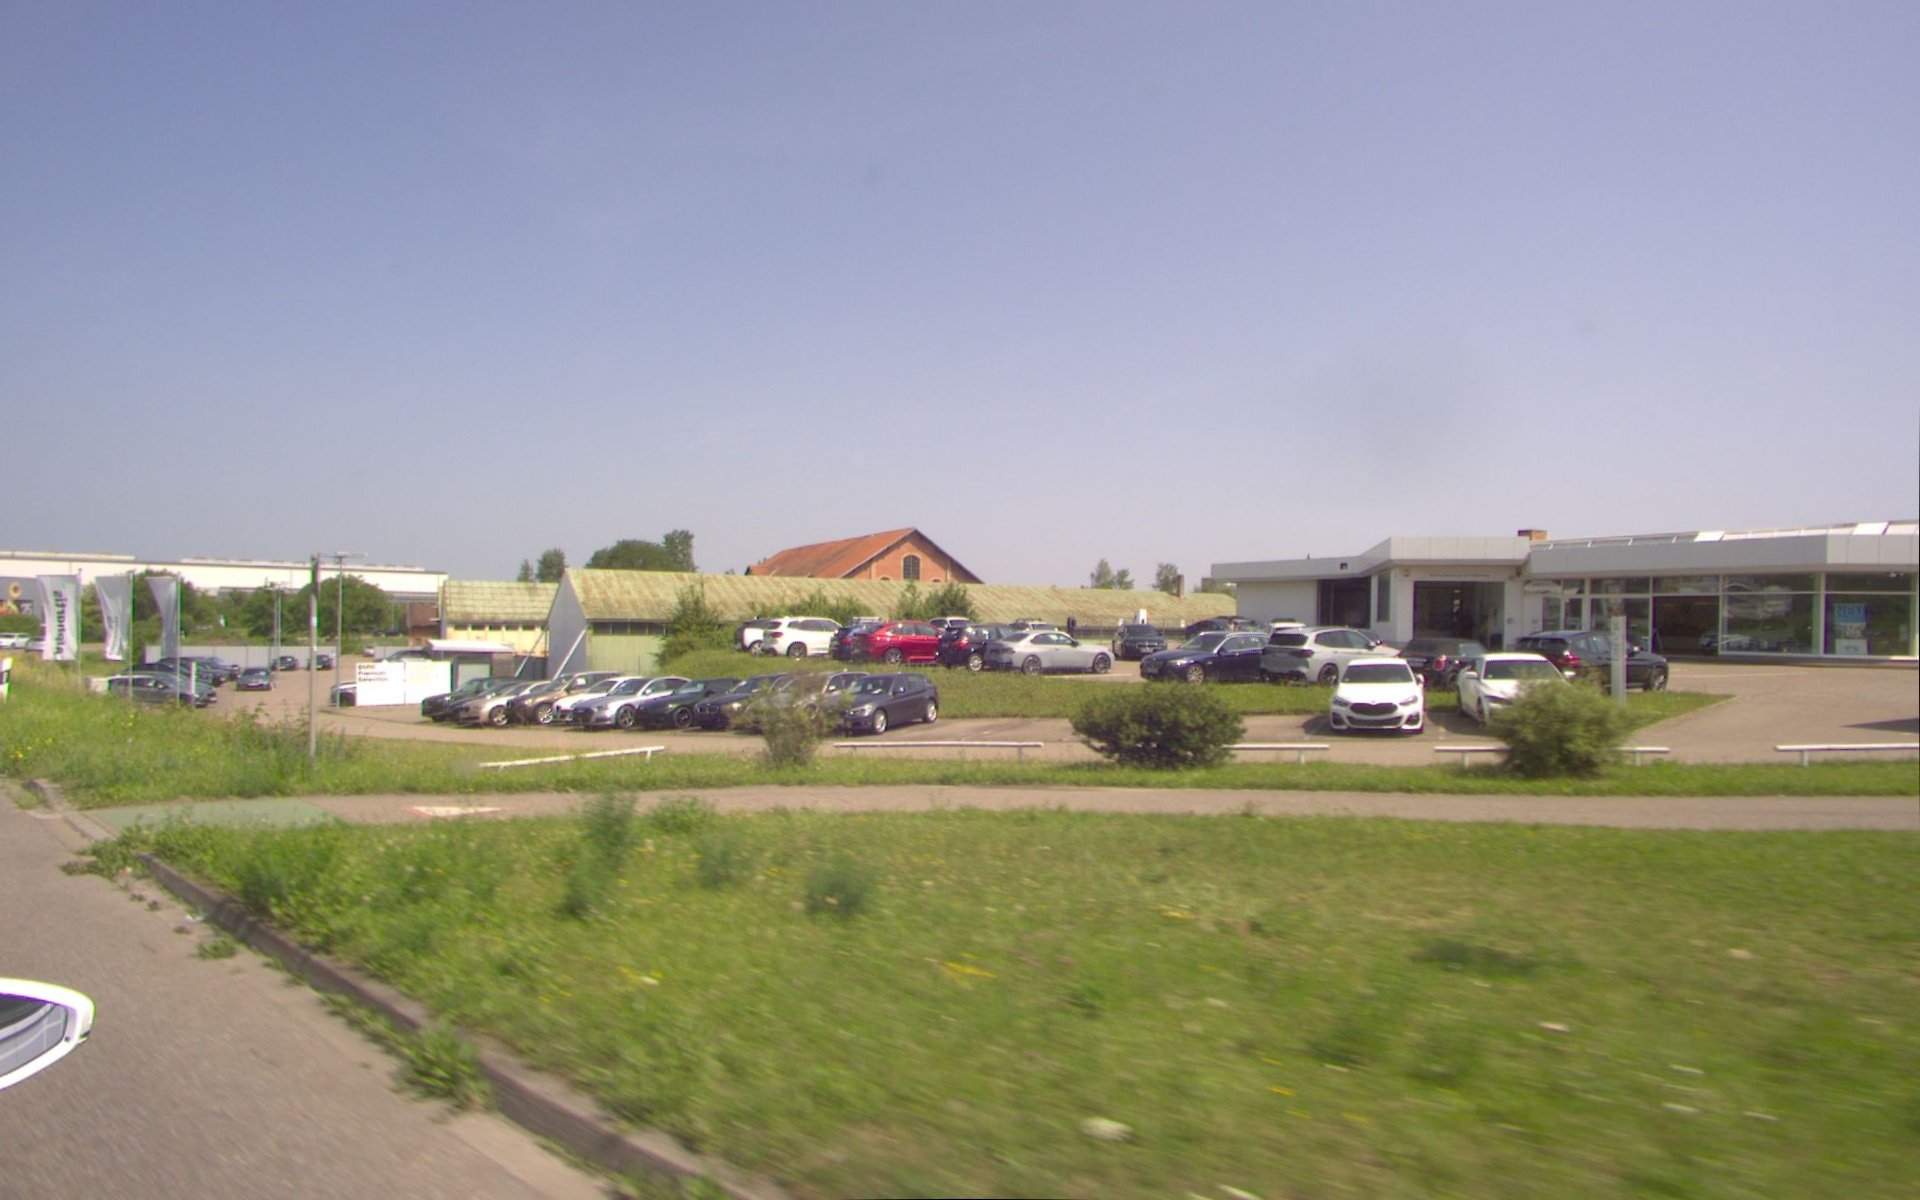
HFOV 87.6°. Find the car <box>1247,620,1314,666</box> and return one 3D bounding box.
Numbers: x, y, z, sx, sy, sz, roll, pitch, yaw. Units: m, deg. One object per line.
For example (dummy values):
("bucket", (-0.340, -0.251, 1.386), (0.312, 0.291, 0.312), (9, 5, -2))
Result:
("car", (12.019, 1.561, 37.788), (1.626, 1.606, 4.268), (0, -1, 7))

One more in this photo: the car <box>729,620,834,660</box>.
("car", (-7.283, 1.615, 40.923), (3.834, 1.552, 1.758), (1, -1, -32))

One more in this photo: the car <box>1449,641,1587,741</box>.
("car", (11.677, 1.809, 21.272), (1.737, 1.592, 4.655), (0, 1, 19))

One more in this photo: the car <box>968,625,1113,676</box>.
("car", (2.628, 1.591, 32.321), (4.407, 1.519, 1.938), (1, -1, -32))

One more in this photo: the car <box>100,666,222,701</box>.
("car", (-37.530, 3.934, 47.130), (4.095, 1.542, 1.690), (2, -3, -12))

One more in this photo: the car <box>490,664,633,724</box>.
("car", (-13.972, 3.274, 35.263), (1.977, 1.770, 4.230), (-4, -2, 39))

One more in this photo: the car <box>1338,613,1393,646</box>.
("car", (14.637, 1.060, 36.080), (1.603, 1.124, 2.943), (0, -1, 27))

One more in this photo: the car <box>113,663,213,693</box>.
("car", (-50.578, 4.976, 63.639), (4.558, 1.723, 1.855), (2, 0, -12))

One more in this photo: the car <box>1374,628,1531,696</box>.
("car", (13.117, 1.585, 26.638), (3.953, 1.520, 1.938), (-1, 1, -32))

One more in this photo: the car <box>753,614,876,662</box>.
("car", (-5.658, 1.464, 39.146), (4.407, 1.769, 1.829), (1, -1, -32))

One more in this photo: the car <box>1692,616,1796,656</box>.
("car", (32.703, 1.470, 41.748), (3.979, 1.607, 1.902), (1, -1, -26))

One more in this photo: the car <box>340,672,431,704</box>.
("car", (-29.652, 4.540, 51.815), (3.738, 1.542, 1.749), (2, -3, -18))

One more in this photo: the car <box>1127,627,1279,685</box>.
("car", (7.003, 1.583, 28.915), (3.947, 1.546, 1.942), (1, -1, -26))

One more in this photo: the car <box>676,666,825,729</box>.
("car", (-6.080, 2.817, 29.490), (1.895, 1.501, 4.241), (-4, -2, 30))

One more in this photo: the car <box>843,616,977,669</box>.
("car", (-1.769, 1.473, 35.681), (4.407, 1.769, 1.939), (1, -1, -32))

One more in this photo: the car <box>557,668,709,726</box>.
("car", (-10.337, 3.057, 32.003), (1.896, 1.484, 4.413), (-4, -2, 31))

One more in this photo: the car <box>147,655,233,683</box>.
("car", (-51.695, 4.615, 67.295), (4.155, 1.723, 1.918), (2, 0, -8))

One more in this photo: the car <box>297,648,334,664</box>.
("car", (-59.806, 5.163, 92.972), (1.966, 1.415, 3.993), (2, -3, -19))

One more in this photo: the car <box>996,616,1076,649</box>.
("car", (3.890, 1.648, 51.874), (2.163, 1.617, 4.283), (1, -1, -29))

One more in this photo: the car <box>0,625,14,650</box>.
("car", (-80.707, 3.068, 82.911), (1.967, 2.038, 3.991), (2, -3, -21))

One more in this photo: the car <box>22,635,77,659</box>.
("car", (-81.021, 4.175, 89.166), (1.964, 2.038, 3.997), (2, -3, -15))

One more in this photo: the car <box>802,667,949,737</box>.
("car", (-2.093, 2.616, 26.340), (1.755, 1.439, 4.558), (-3, -2, 25))

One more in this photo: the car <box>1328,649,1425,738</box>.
("car", (9.123, 1.934, 21.801), (1.739, 1.591, 4.564), (-1, -1, 24))

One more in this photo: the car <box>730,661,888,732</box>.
("car", (-4.127, 2.652, 28.063), (1.895, 1.585, 4.551), (-4, -2, 30))

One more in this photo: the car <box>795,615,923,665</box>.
("car", (-3.743, 1.465, 37.367), (4.407, 1.769, 1.829), (1, -1, -32))

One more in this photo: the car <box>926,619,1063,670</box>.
("car", (1.204, 1.497, 34.350), (4.407, 1.656, 1.939), (1, -1, -32))

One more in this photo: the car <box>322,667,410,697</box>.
("car", (-32.058, 4.421, 54.170), (3.908, 1.542, 1.746), (2, -3, -25))

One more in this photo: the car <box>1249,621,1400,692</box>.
("car", (10.165, 1.503, 27.881), (3.953, 1.773, 1.938), (0, 0, -32))

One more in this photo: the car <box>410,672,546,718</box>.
("car", (-19.310, 3.758, 40.266), (2.120, 1.660, 4.470), (-3, -4, 35))

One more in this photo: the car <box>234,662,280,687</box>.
("car", (-46.123, 4.856, 65.744), (2.113, 1.475, 4.508), (3, -3, -31))

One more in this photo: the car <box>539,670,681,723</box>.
("car", (-11.874, 3.234, 34.155), (1.852, 1.483, 4.230), (-4, -3, 39))

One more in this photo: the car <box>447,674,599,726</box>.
("car", (-15.970, 3.629, 36.810), (1.977, 1.527, 4.746), (-4, -3, 39))

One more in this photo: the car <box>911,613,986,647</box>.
("car", (-0.622, 1.480, 49.583), (1.895, 1.617, 4.283), (1, -1, -29))

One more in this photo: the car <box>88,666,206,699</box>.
("car", (-40.014, 4.065, 49.377), (4.098, 1.542, 1.749), (2, -3, -16))

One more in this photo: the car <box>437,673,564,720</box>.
("car", (-17.563, 3.654, 38.434), (1.974, 1.571, 3.976), (-3, -3, 35))

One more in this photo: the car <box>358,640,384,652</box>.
("car", (-71.160, 5.543, 121.003), (1.966, 1.415, 3.993), (2, -3, -19))

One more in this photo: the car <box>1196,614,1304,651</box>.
("car", (12.650, 1.415, 43.685), (4.400, 1.542, 1.941), (1, -1, -27))

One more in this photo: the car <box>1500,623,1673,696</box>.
("car", (15.719, 1.427, 25.078), (4.364, 1.519, 1.939), (-2, -1, -32))

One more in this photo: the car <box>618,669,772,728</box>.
("car", (-8.067, 2.976, 30.744), (1.901, 1.430, 4.229), (-4, -2, 39))
